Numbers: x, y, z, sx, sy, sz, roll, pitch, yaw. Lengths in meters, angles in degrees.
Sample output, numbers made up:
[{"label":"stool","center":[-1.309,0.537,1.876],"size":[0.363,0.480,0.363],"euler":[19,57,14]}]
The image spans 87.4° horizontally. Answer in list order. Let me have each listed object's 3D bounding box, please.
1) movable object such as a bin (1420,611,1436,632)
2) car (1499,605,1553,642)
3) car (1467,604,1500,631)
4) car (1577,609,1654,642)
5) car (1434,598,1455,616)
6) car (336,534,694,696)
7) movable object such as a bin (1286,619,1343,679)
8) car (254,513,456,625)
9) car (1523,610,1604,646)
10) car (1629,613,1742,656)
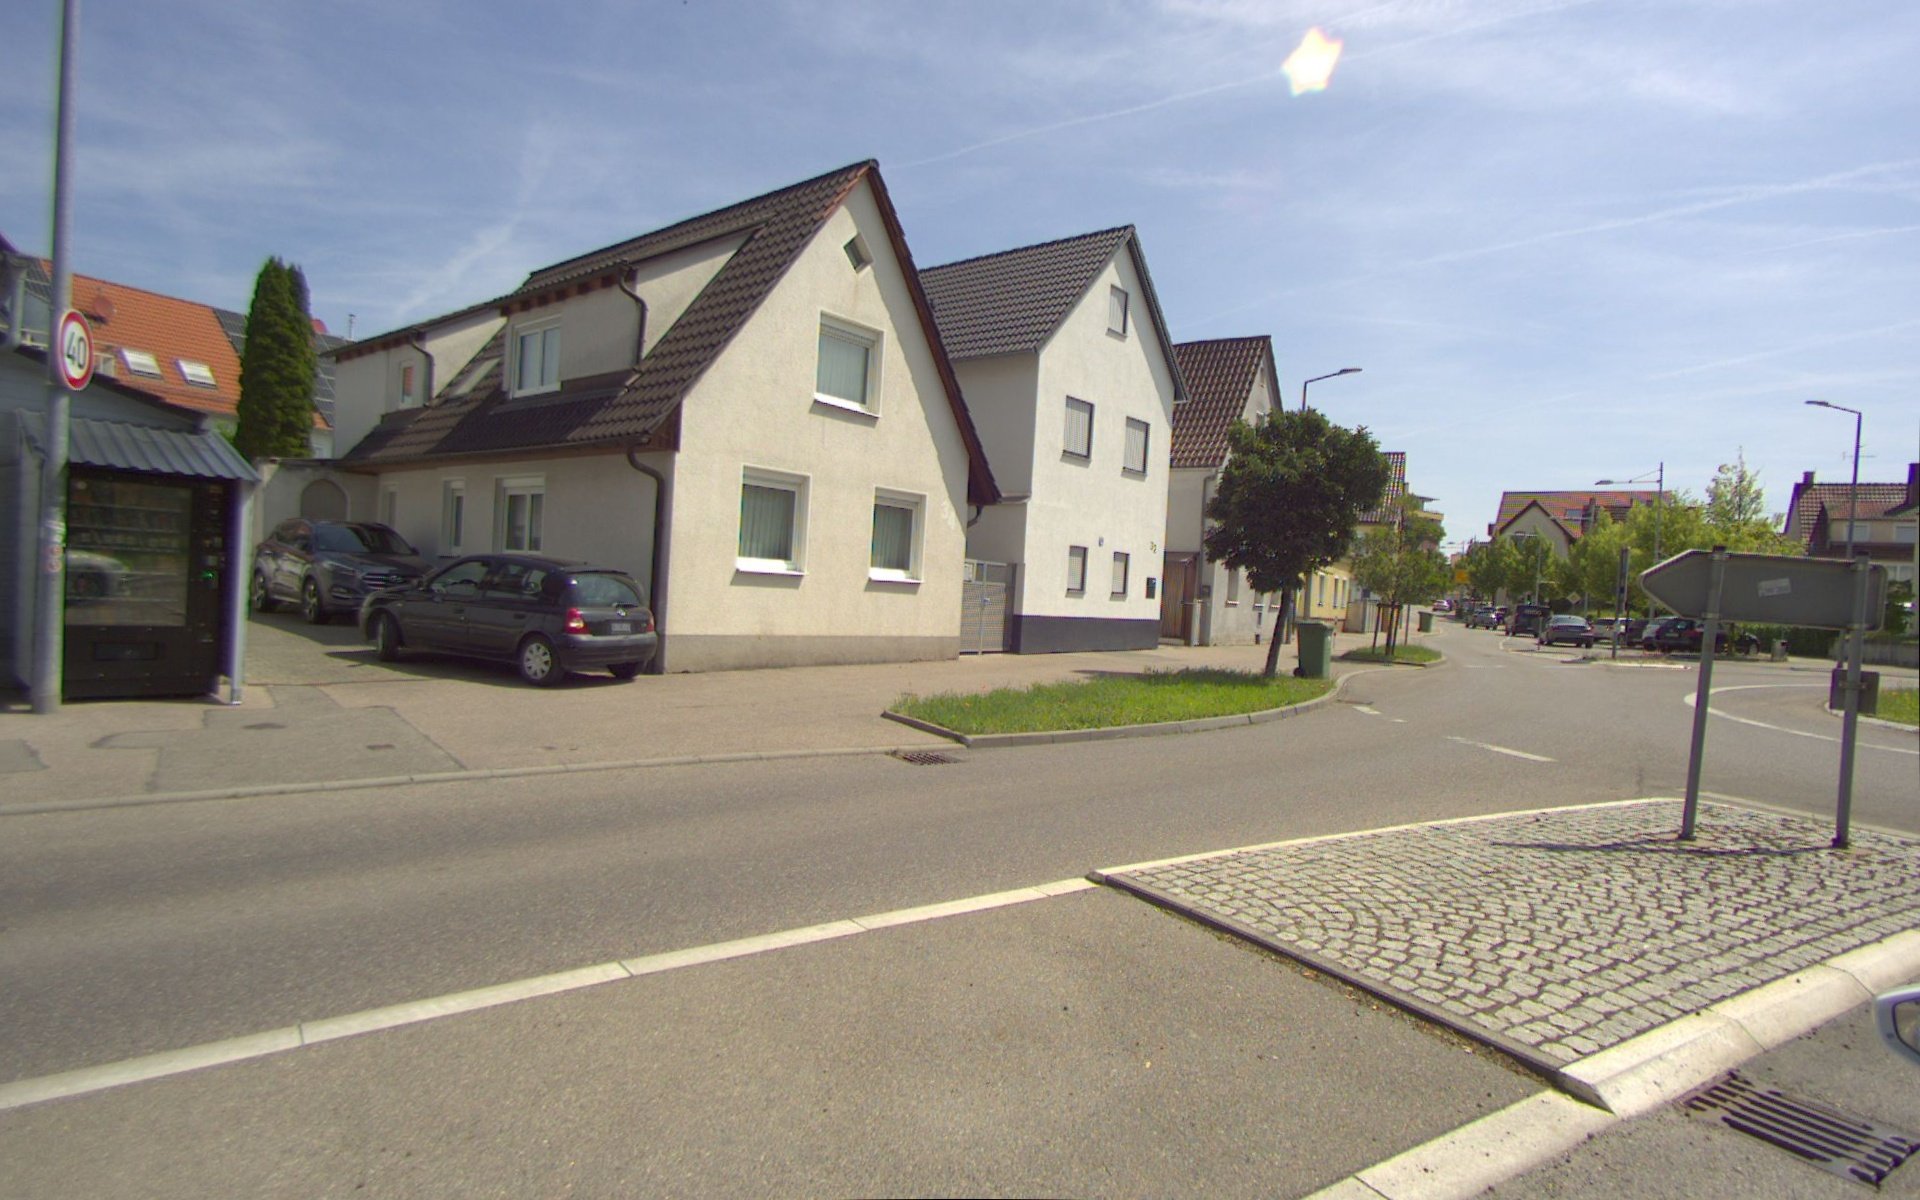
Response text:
[{"label":"movable object such as a bin","center":[24.828,1.124,53.322],"size":[0.685,1.066,0.675],"euler":[3,1,20]},{"label":"car","center":[34.236,1.396,60.841],"size":[2.076,2.040,4.000],"euler":[3,1,20]},{"label":"car","center":[42.587,1.408,81.811],"size":[2.078,2.040,3.997],"euler":[4,1,24]},{"label":"car","center":[38.123,1.487,58.397],"size":[3.946,1.691,1.861],"euler":[3,1,-25]},{"label":"car","center":[59.689,0.890,123.828],"size":[2.078,2.040,3.997],"euler":[4,1,24]},{"label":"car","center":[-5.426,0.114,12.324],"size":[3.772,1.460,1.778],"euler":[6,3,20]},{"label":"movable object such as a bin","center":[6.659,0.907,18.851],"size":[0.887,1.062,0.578],"euler":[2,1,30]},{"label":"car","center":[-10.265,-0.513,16.941],"size":[3.817,1.667,1.988],"euler":[3,1,44]},{"label":"car","center":[27.461,1.239,45.860],"size":[1.840,1.409,4.217],"euler":[3,1,12]},{"label":"car","center":[31.801,1.501,44.050],"size":[3.931,1.639,1.813],"euler":[3,1,-13]}]
